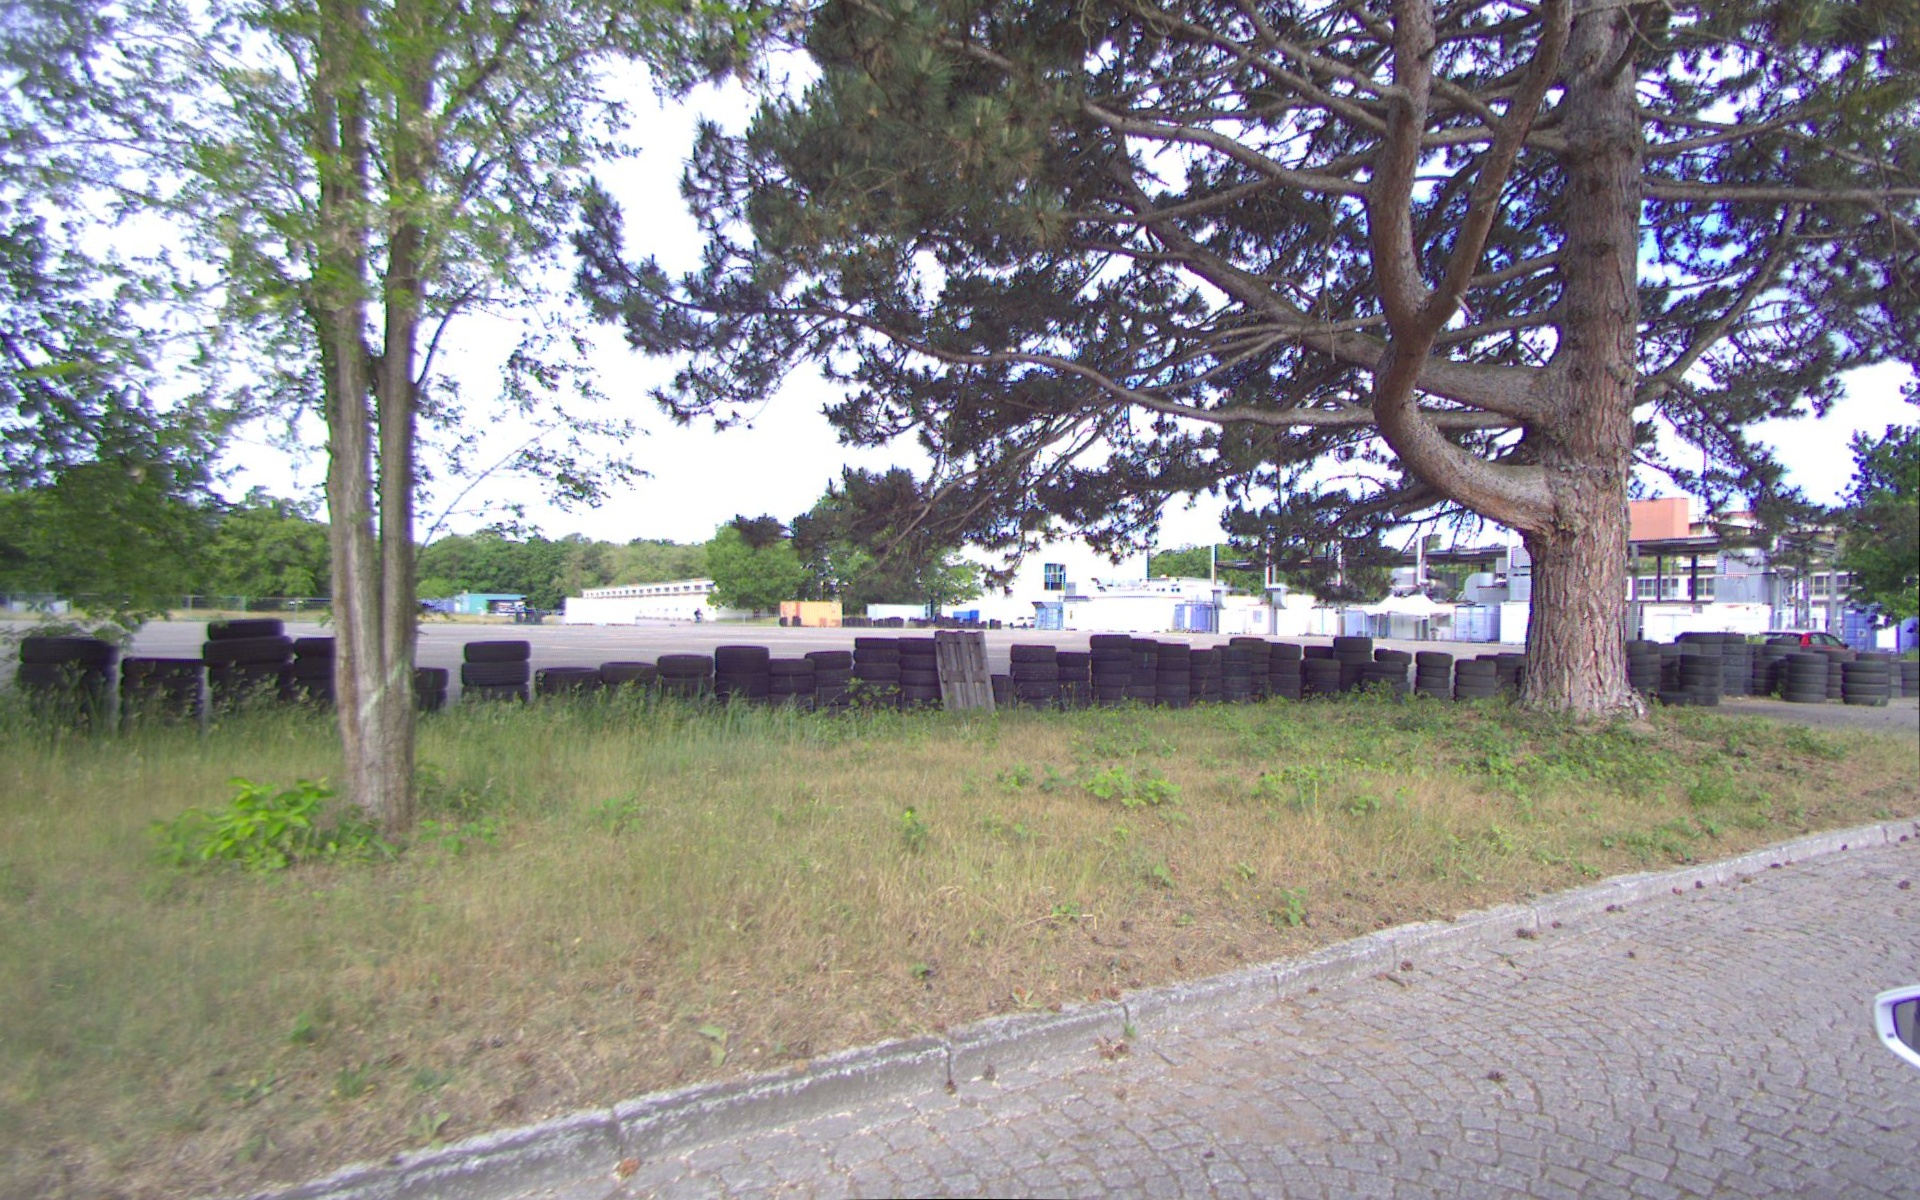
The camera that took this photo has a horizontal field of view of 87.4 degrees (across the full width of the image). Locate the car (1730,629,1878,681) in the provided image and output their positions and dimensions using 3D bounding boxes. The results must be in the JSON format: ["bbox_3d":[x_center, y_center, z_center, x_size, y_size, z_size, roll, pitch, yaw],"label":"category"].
[{"bbox_3d":[25.368,1.622,30.180,4.161,1.450,1.819,1,-1,-25],"label":"car"}]
